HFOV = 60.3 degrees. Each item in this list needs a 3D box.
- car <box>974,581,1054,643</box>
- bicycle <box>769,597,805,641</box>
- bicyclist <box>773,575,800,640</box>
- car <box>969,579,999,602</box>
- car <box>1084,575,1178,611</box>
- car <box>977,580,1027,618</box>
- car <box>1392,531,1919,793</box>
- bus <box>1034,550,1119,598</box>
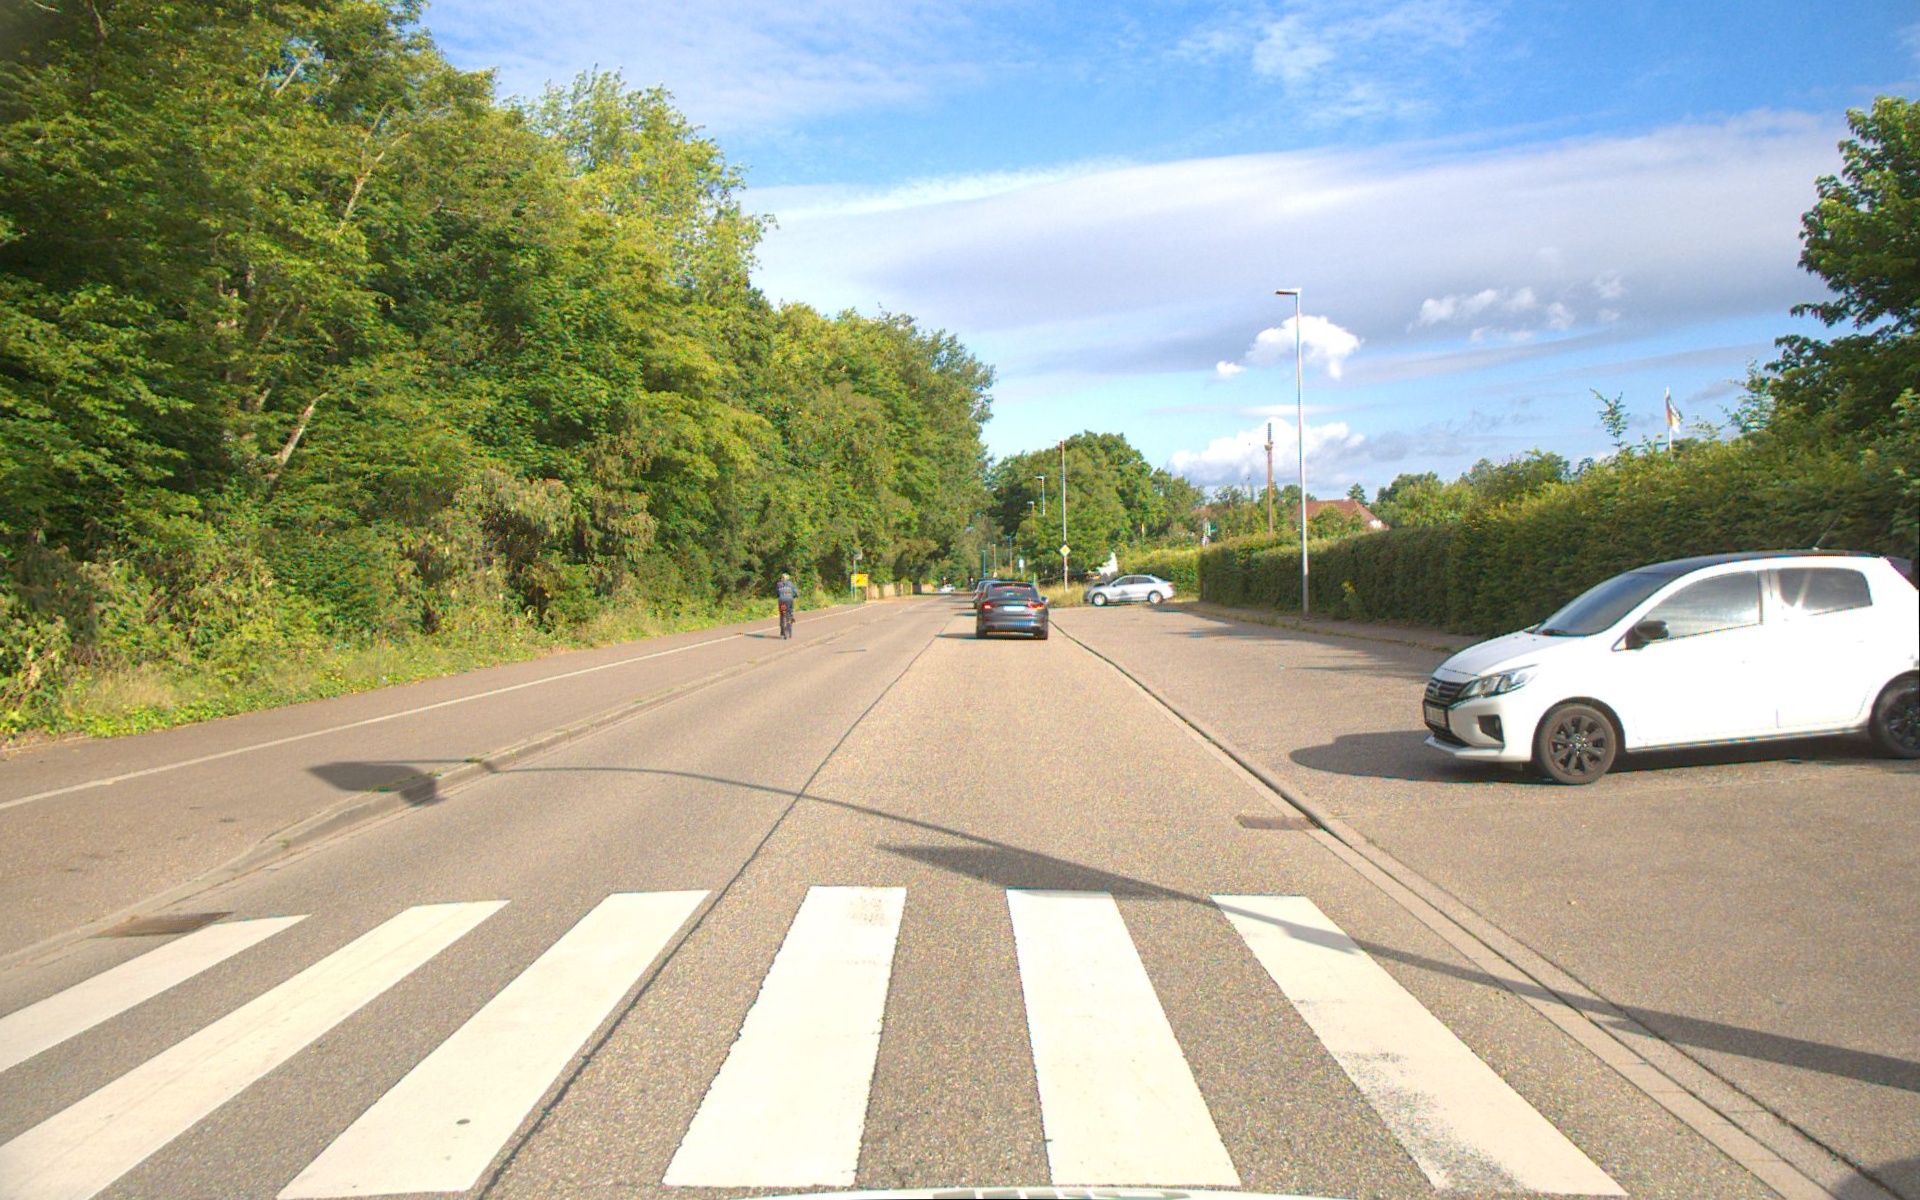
[{"bbox_3d":[1.383,0.269,42.384,1.925,1.459,4.337,-1,1,2],"label":"car"},{"bbox_3d":[-4.621,0.493,44.211,0.649,1.116,2.349,0,1,2],"label":"bicycle"},{"bbox_3d":[-4.634,0.189,44.094,0.596,1.706,0.884,0,1,1],"label":"bicyclist"},{"bbox_3d":[1.549,-0.630,107.989,1.848,1.396,4.055,-2,1,0],"label":"car"},{"bbox_3d":[8.006,-0.343,77.261,4.269,1.468,1.934,-3,0,7],"label":"car"},{"bbox_3d":[1.641,-0.061,65.426,1.848,1.396,4.055,-2,1,0],"label":"car"},{"bbox_3d":[5.398,0.398,12.414,3.780,1.515,1.692,-5,2,-1],"label":"car"},{"bbox_3d":[7.529,-1.693,107.330,5.257,2.794,2.068,-3,1,-2],"label":"bus"}]
